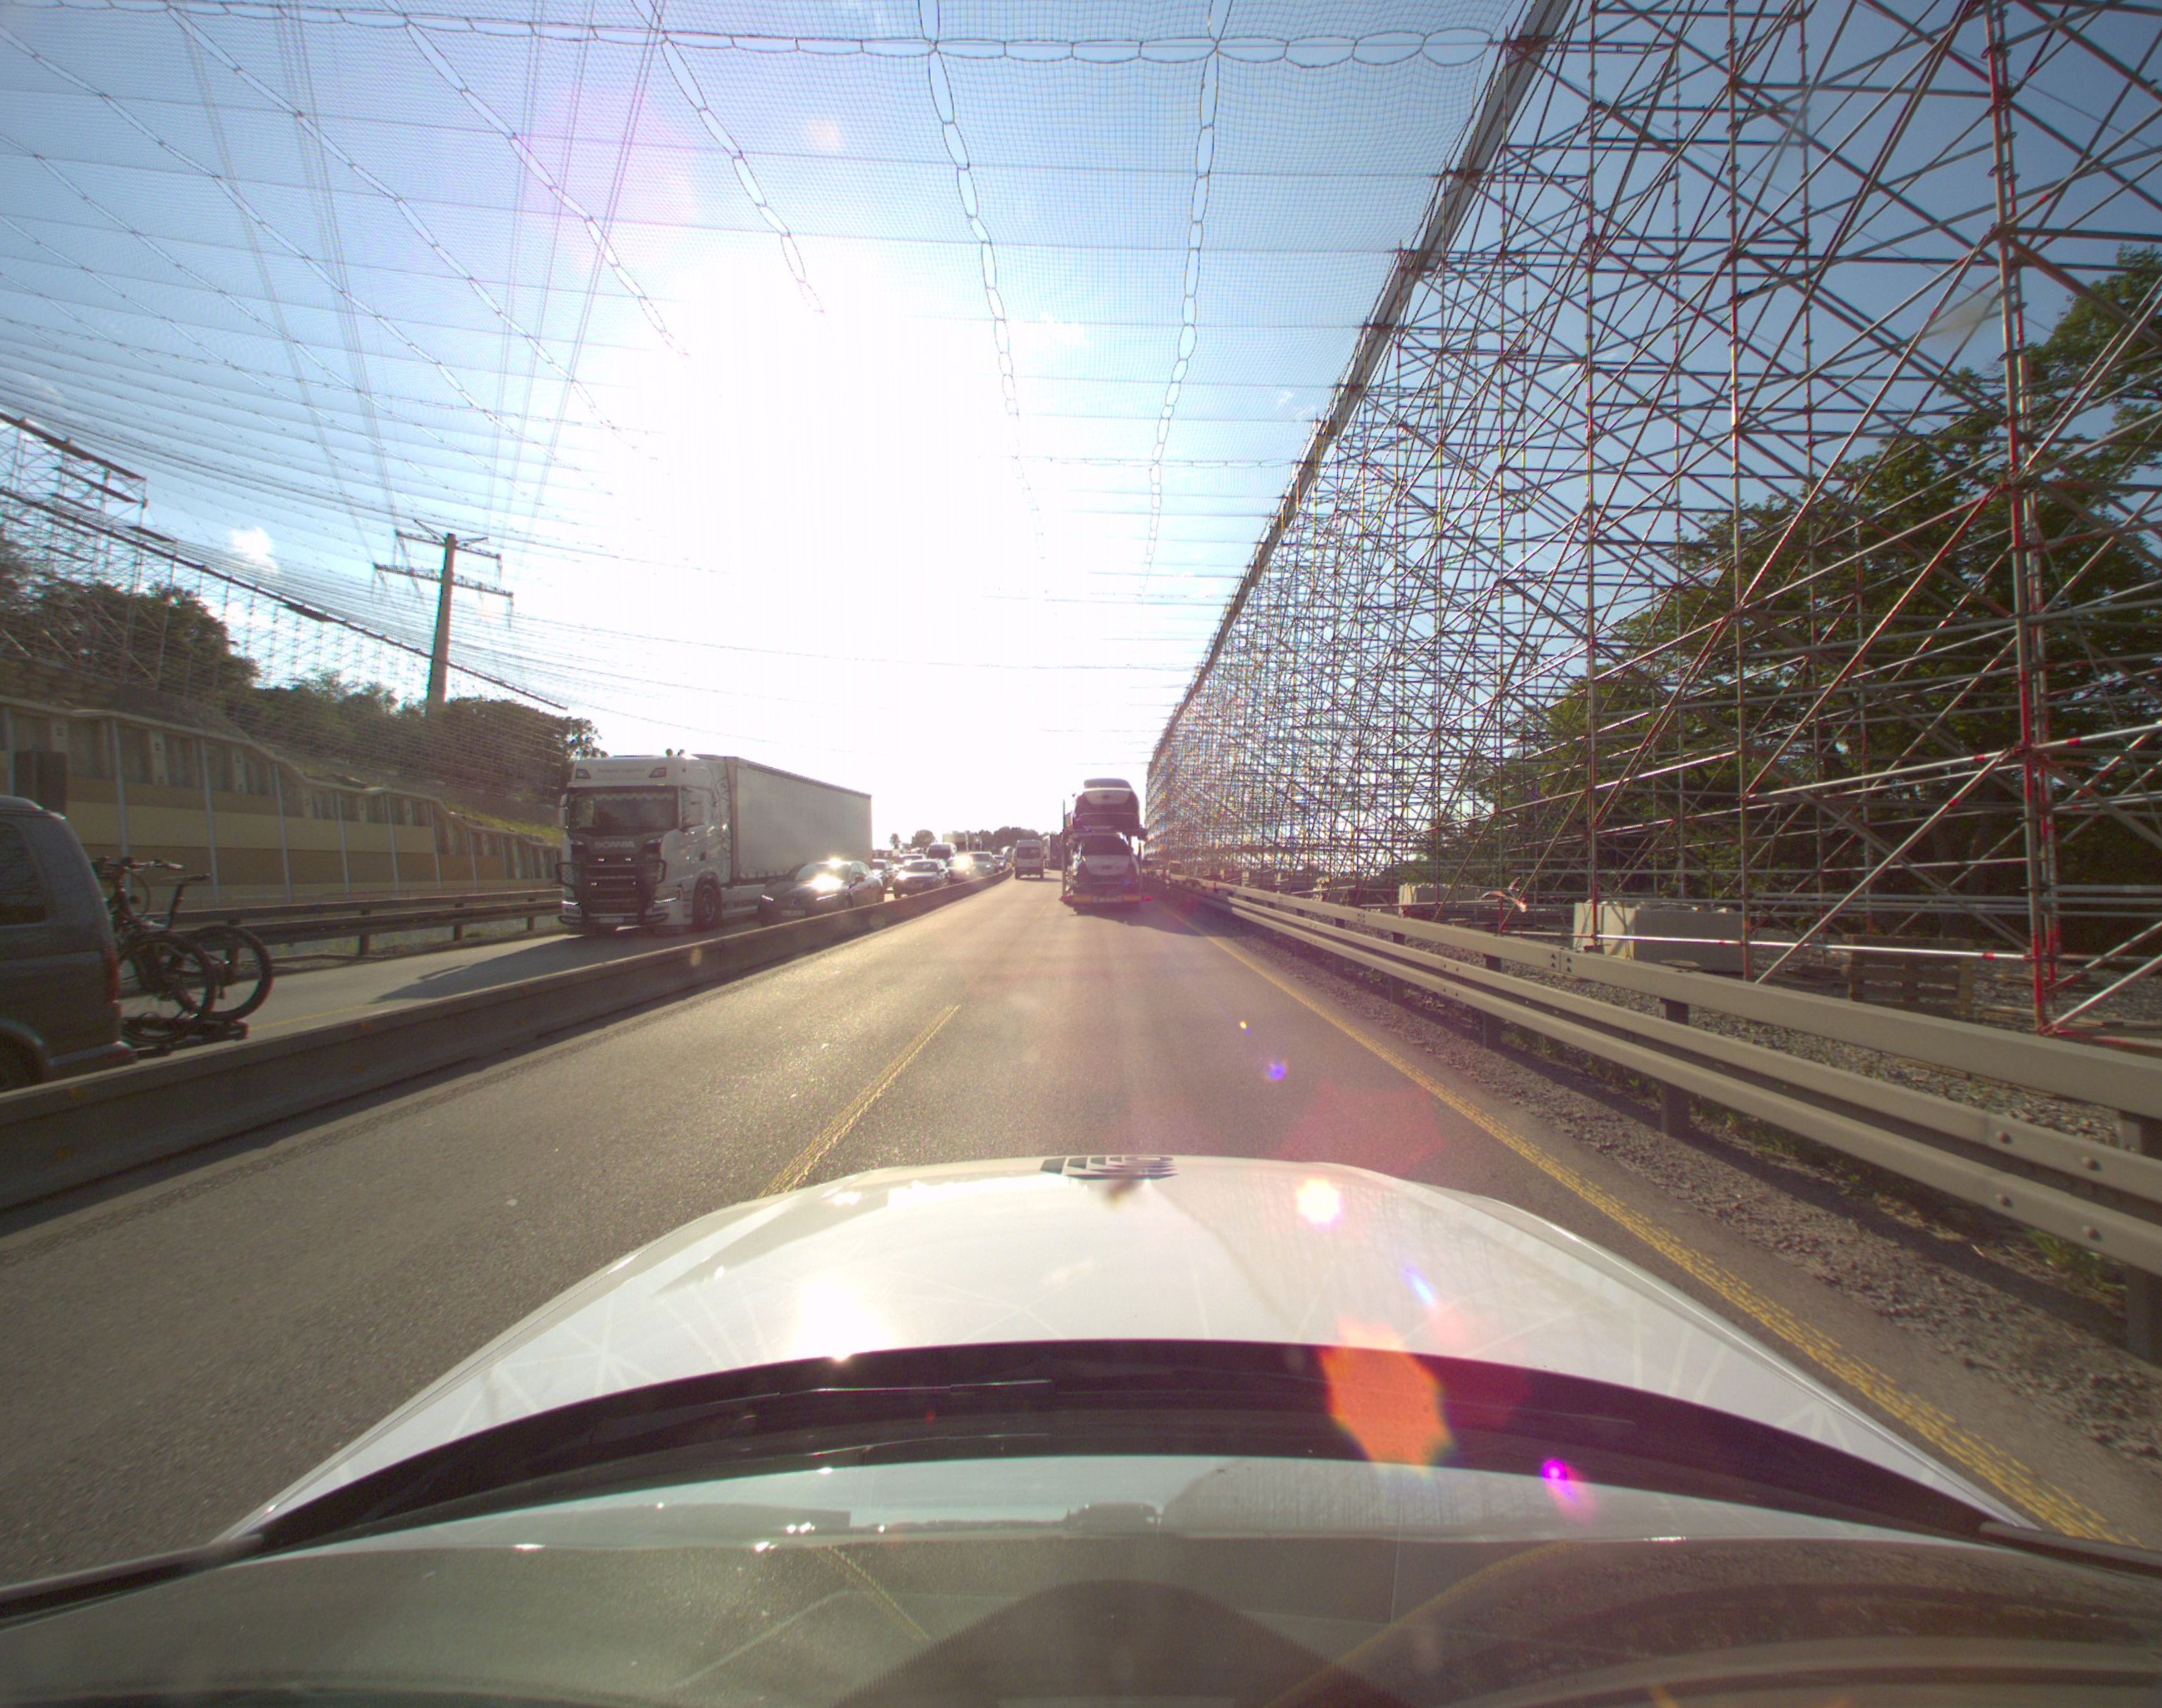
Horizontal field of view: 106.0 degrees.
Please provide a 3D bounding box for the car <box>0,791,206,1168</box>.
[{"bbox_3d":[-6.493,0.637,2.698,1.868,1.935,4.862,0,0,1],"label":"car"}]

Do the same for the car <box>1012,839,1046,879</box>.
[{"bbox_3d":[-3.638,0.396,56.479,1.956,2.621,3.987,-1,-1,-9],"label":"car"}]

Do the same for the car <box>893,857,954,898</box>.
[{"bbox_3d":[-6.319,0.919,33.112,1.737,1.543,4.402,0,0,-2],"label":"car"}]

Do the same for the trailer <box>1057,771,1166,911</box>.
[{"bbox_3d":[0.751,-0.261,29.353,2.860,3.725,14.941,-1,-1,-1],"label":"trailer"}]

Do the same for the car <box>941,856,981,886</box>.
[{"bbox_3d":[-6.780,0.910,46.475,1.690,1.629,3.999,0,0,0],"label":"car"}]

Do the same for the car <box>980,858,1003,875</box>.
[{"bbox_3d":[-7.807,1.079,70.837,1.835,1.453,3.990,0,0,-7],"label":"car"}]

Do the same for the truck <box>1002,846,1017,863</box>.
[{"bbox_3d":[-16.314,0.074,185.212,2.616,3.723,9.626,0,0,-10],"label":"truck"}]

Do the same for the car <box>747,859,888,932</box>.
[{"bbox_3d":[-6.068,0.881,19.392,1.779,1.502,4.753,0,0,0],"label":"car"}]

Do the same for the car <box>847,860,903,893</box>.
[{"bbox_3d":[-9.554,0.995,38.053,1.660,1.441,3.850,0,0,0],"label":"car"}]

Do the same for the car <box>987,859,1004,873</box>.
[{"bbox_3d":[-9.321,1.256,88.439,1.701,1.453,3.988,0,0,-9],"label":"car"}]

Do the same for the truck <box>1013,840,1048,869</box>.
[{"bbox_3d":[-8.306,0.136,131.587,3.689,4.221,13.613,-4,0,-11],"label":"truck"}]

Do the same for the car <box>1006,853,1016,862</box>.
[{"bbox_3d":[-12.902,0.717,149.714,1.706,1.618,3.499,-1,-1,-3],"label":"car"}]

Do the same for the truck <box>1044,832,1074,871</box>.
[{"bbox_3d":[-2.751,-0.318,97.094,2.728,4.385,11.498,0,0,-6],"label":"truck"}]

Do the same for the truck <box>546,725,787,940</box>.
[{"bbox_3d":[-9.361,-0.416,19.272,2.655,4.230,6.100,-1,-1,-2],"label":"truck"}]

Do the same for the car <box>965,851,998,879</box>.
[{"bbox_3d":[-6.974,0.777,57.542,1.831,1.893,3.999,0,0,0],"label":"car"}]

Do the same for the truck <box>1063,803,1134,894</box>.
[{"bbox_3d":[0.668,-0.197,37.270,2.873,3.702,7.322,-1,-1,-1],"label":"truck"}]

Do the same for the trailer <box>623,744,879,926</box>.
[{"bbox_3d":[-9.440,-0.415,25.987,2.646,4.233,13.913,0,0,-1],"label":"trailer"}]

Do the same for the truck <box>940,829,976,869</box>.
[{"bbox_3d":[-11.664,-0.425,78.080,2.591,3.473,12.369,0,0,-5],"label":"truck"}]

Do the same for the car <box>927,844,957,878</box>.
[{"bbox_3d":[-10.834,0.543,63.782,1.991,2.541,3.992,0,0,-6],"label":"car"}]

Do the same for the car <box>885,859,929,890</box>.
[{"bbox_3d":[-10.011,1.132,47.065,1.674,1.684,3.998,0,0,-1],"label":"car"}]

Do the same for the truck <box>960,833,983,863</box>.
[{"bbox_3d":[-13.612,-0.652,101.683,2.592,3.473,12.361,0,0,-7],"label":"truck"}]

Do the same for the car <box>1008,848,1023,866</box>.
[{"bbox_3d":[-9.487,0.477,117.876,1.991,2.578,3.991,0,0,-7],"label":"car"}]
